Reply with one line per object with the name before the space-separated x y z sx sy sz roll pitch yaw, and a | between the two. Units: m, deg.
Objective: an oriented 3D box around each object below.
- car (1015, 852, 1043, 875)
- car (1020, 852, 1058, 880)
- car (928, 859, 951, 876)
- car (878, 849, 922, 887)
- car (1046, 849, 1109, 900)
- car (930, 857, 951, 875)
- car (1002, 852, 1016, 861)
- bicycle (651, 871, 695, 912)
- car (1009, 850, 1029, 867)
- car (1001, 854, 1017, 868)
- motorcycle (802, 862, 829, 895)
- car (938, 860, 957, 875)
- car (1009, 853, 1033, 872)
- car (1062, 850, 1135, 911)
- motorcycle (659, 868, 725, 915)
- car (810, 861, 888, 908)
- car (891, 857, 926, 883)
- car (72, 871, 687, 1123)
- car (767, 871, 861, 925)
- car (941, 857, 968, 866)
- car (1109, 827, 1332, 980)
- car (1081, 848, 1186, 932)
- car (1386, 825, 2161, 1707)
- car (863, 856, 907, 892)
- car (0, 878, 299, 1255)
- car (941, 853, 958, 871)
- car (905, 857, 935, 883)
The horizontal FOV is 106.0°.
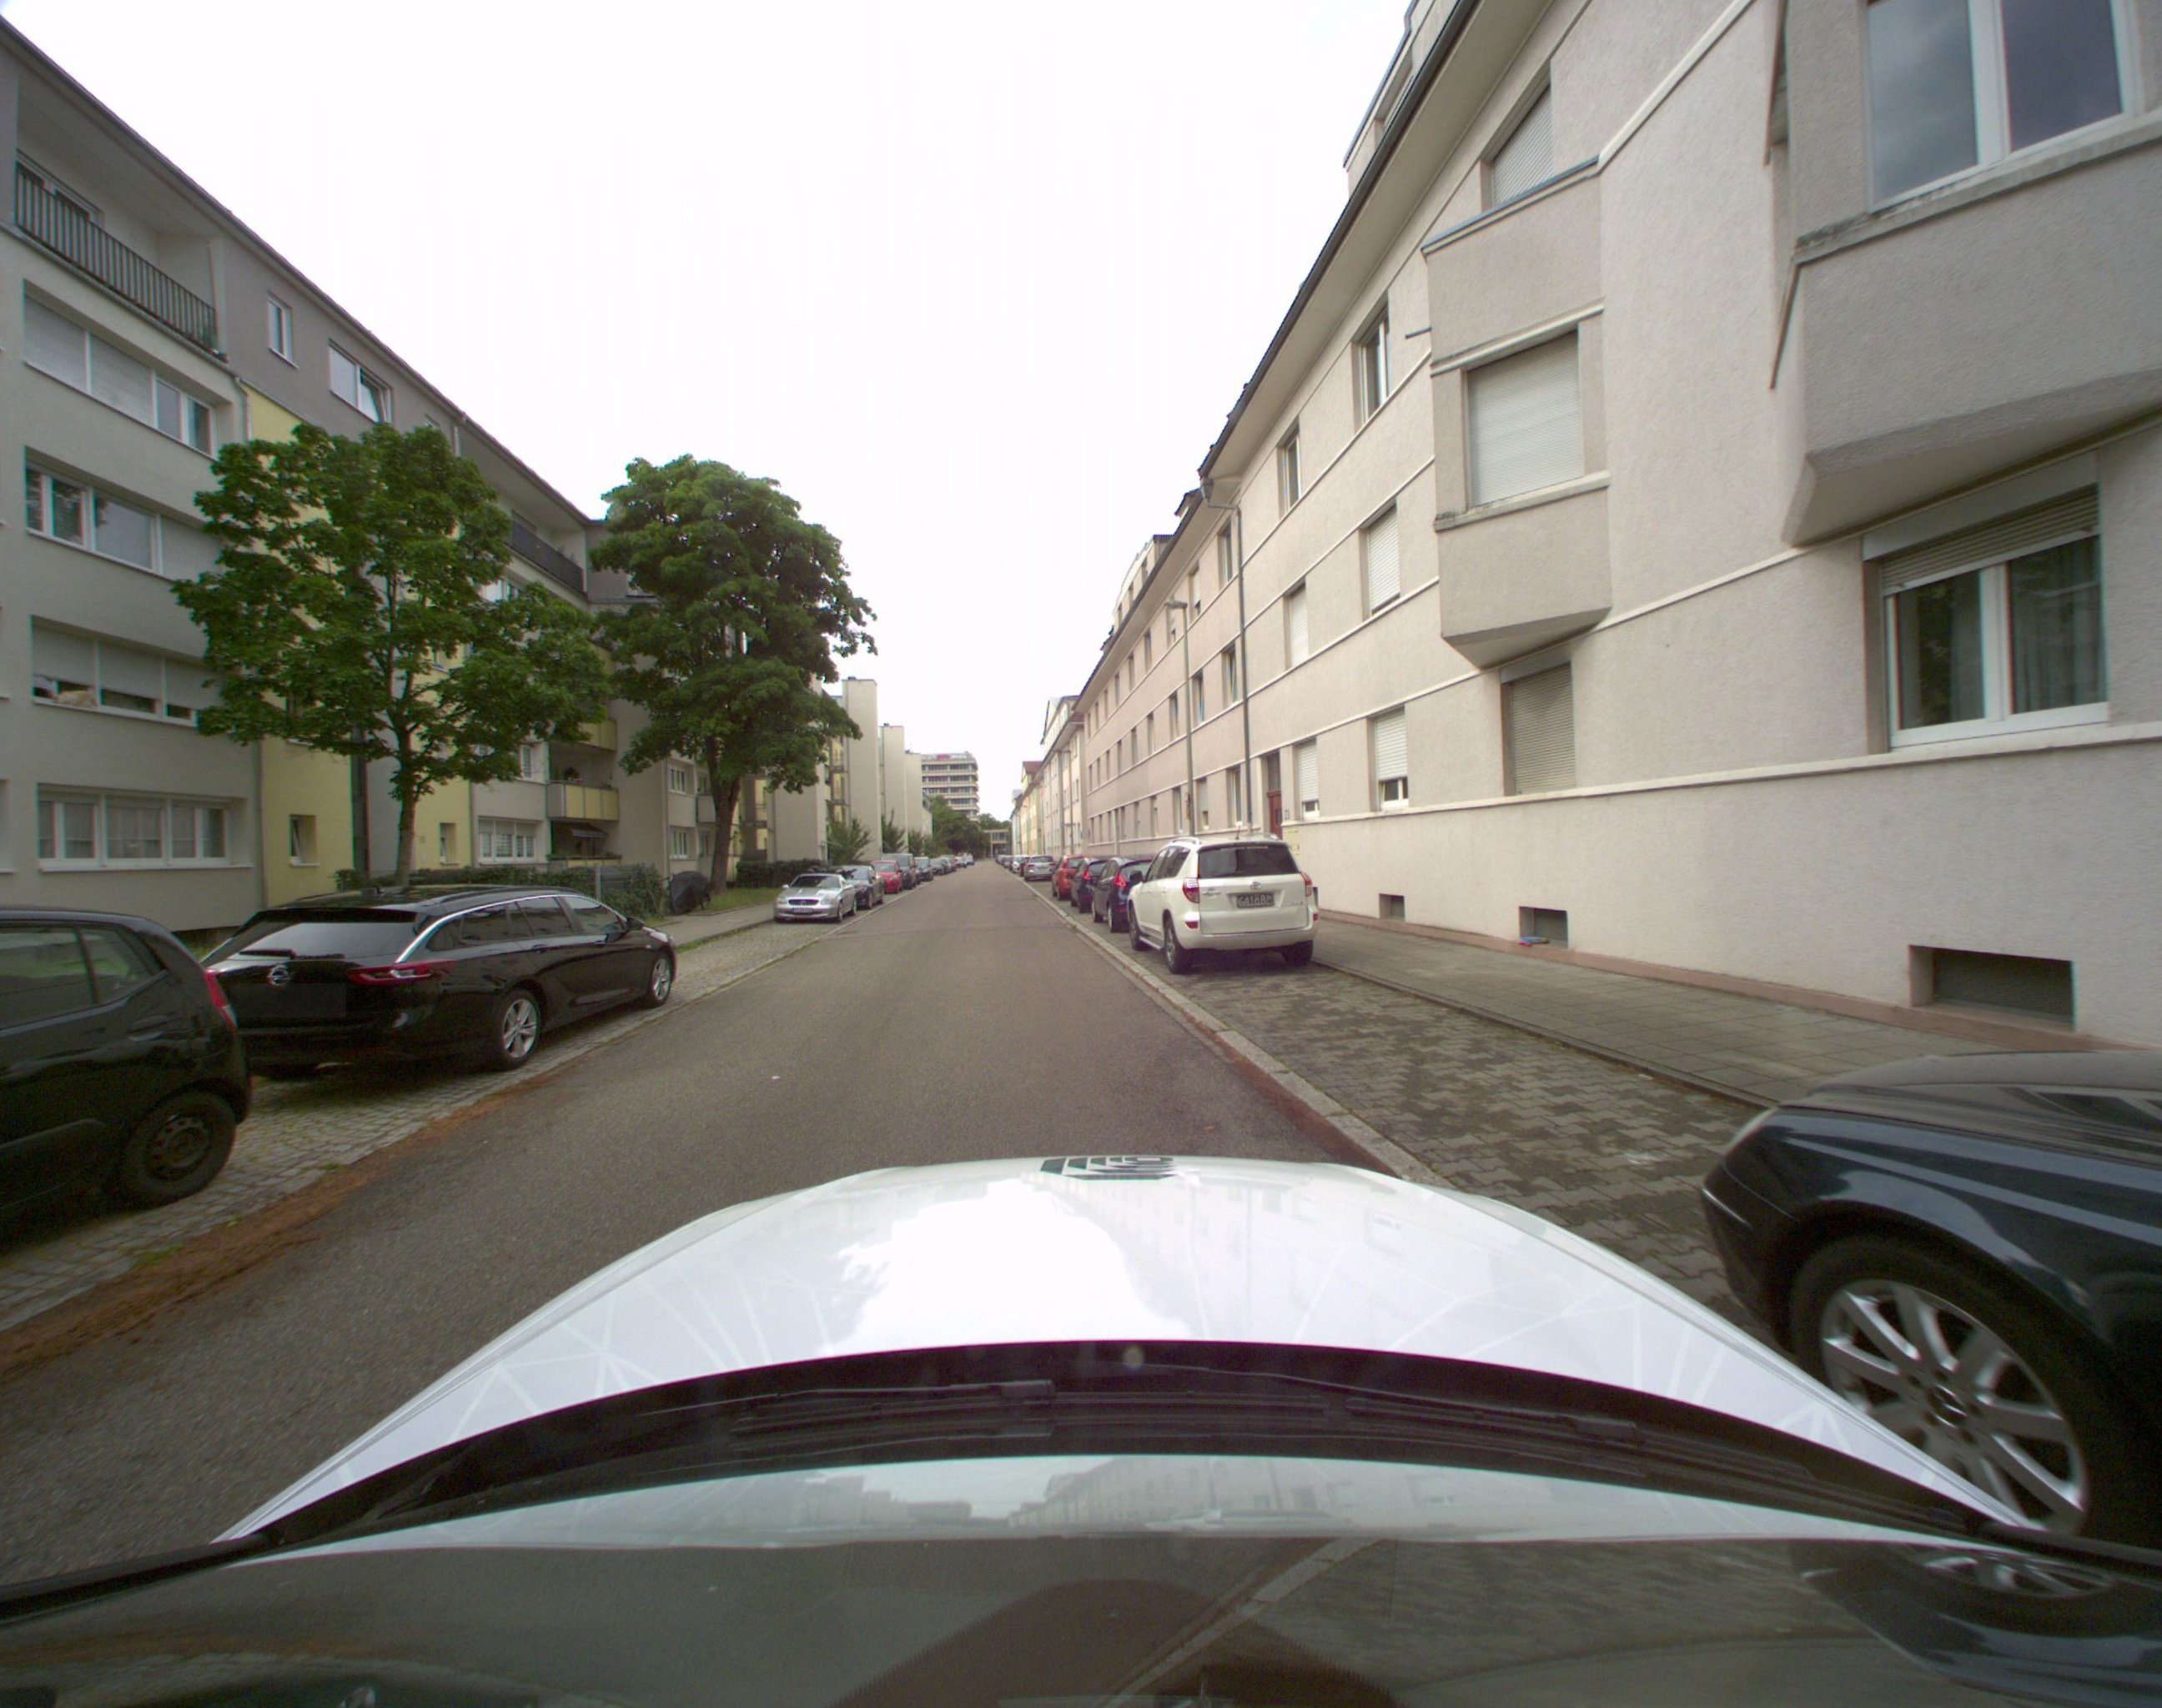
car | -3.683 0.632 56.970 1.669 1.420 3.990 -4 1 -7
car | -2.442 0.632 46.562 1.754 1.467 4.588 -1 0 -8
car | -12.242 1.120 70.527 1.670 1.351 3.808 -1 0 -6
car | -9.515 0.707 43.193 1.878 1.904 5.016 1 0 -8
car | -0.185 0.651 27.867 1.695 1.525 3.817 -3 0 -6
car | -12.966 1.116 75.094 1.670 1.564 3.656 -1 0 -7
car | -11.031 0.408 124.248 1.992 1.398 3.990 1 0 -7
bicycle | -12.107 1.096 24.216 0.551 1.101 1.771 -2 0 -5
car | -6.165 0.390 80.409 1.817 1.577 3.744 -1 0 -7
car | -8.560 0.776 97.054 1.817 1.577 3.875 -1 0 -7
motorcycle | -11.366 1.034 34.938 0.676 1.356 2.224 1 0 -6
car | -13.926 1.389 84.958 1.670 1.526 4.243 -1 0 -6
car | -5.064 0.718 68.726 1.817 1.504 3.744 -1 0 -7
car | 0.403 0.655 22.456 1.565 1.473 3.689 -3 0 -5
motorcycle | -11.394 1.049 24.003 0.680 1.223 3.061 -1 0 -5
car | -7.929 0.997 28.254 1.839 1.421 4.619 0 0 -6
car | -10.554 0.962 50.082 1.829 1.459 4.248 -1 0 -8
car | -5.609 0.953 7.611 1.865 1.464 4.825 1 0 -5
car | -7.399 1.173 22.937 1.694 1.258 4.006 0 0 -6
car | -18.215 1.072 117.273 3.694 1.214 1.553 -1 0 27
car | 1.721 0.555 11.619 1.842 1.673 4.277 -3 1 -8
car | 0.982 0.657 17.041 1.565 1.478 3.863 -2 0 -5
car | 2.534 0.676 1.203 1.744 1.420 4.937 -3 1 -8
car | -9.142 0.890 38.166 1.562 1.569 3.633 1 0 -7
car | -5.156 0.893 2.831 1.521 1.493 3.587 1 0 -4
car | -15.335 0.896 95.094 1.670 1.938 3.733 -1 0 -7
car | -10.982 1.059 55.767 1.768 1.643 4.342 -1 0 -8
